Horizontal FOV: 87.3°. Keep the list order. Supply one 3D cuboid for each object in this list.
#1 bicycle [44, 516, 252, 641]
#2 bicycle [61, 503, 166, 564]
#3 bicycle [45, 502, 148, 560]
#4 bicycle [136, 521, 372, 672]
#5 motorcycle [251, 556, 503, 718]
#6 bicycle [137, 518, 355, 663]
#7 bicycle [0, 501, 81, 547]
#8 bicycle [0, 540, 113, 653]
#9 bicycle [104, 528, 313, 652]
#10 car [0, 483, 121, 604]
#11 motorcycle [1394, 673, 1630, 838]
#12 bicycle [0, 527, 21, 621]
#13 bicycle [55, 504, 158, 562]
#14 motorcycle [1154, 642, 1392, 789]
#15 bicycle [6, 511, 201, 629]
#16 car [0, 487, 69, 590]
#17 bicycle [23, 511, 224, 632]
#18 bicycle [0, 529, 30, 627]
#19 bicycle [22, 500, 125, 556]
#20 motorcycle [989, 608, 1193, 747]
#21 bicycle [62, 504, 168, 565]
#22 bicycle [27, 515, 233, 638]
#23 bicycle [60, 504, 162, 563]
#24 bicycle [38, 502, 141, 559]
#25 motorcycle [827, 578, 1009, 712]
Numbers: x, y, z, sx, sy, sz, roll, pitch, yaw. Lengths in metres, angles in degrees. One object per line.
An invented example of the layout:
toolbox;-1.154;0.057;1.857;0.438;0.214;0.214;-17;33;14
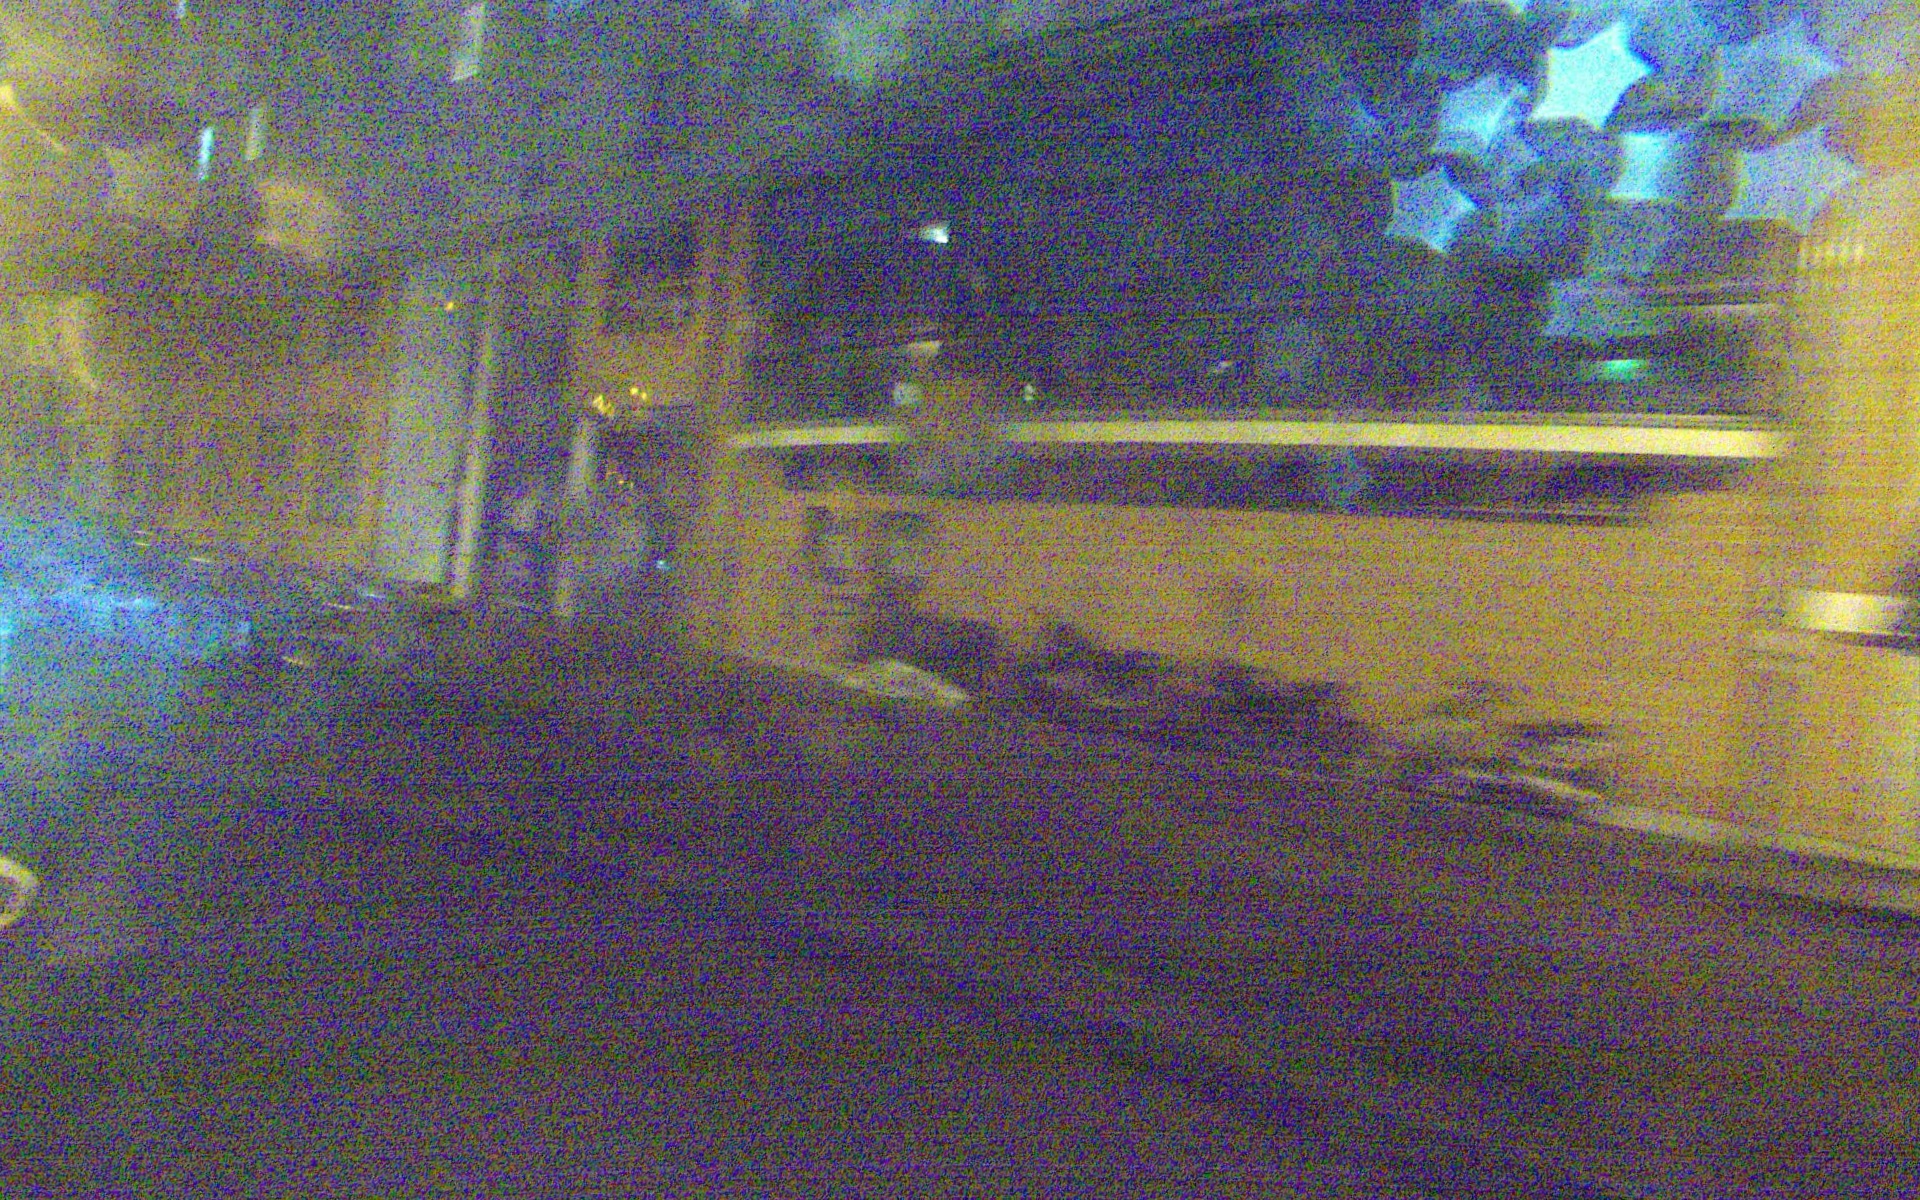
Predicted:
bicycle;-8.461;-0.187;10.551;0.411;1.173;1.596;7;1;31
bicycle;-18.547;-1.439;22.078;0.421;1.162;1.687;7;3;27
bicycle;-19.819;-1.560;23.130;0.532;1.162;1.687;7;3;27
bicycle;-6.426;0.014;9.244;0.379;1.250;1.663;7;1;37
motorcycle;-4.693;0.289;8.212;0.642;1.139;1.634;7;2;28
bicycle;-6.779;-0.056;9.622;0.411;1.250;1.578;7;1;37
bicycle;-24.630;-2.010;26.637;0.501;1.068;1.973;6;2;28
bicycle;-8.257;-0.029;8.810;0.297;0.960;1.211;7;1;31
bicycle;-7.585;-0.063;10.231;0.411;1.126;1.596;7;1;31
car;-13.175;-0.803;12.709;1.625;1.542;3.712;6;1;10
motorcycle;4.620;1.266;8.486;1.598;1.080;0.523;7;0;33
bicycle;-10.271;-0.288;10.142;0.263;0.961;1.131;7;3;32
bicycle;-19.344;-1.508;22.842;0.477;1.162;1.687;7;3;27
motorcycle;2.970;1.067;9.630;2.022;1.080;0.524;6;0;28
bicycle;-9.759;-0.314;11.503;0.532;1.173;1.592;8;2;42
car;-15.562;-1.033;14.563;1.625;1.542;3.712;6;1;10
bicycle;-9.153;-0.279;11.079;0.411;1.173;1.596;7;1;31
bicycle;-10.050;-0.242;9.995;0.245;0.987;1.132;7;2;32
bicycle;-21.022;-1.691;23.882;0.654;1.162;1.687;7;2;27
motorcycle;1.403;0.819;11.084;2.091;1.222;0.523;7;0;34
bicycle;-18.126;-1.392;21.613;0.421;1.162;1.687;7;3;27
bicycle;-8.832;-0.218;10.778;0.411;1.173;1.596;7;1;31
bicycle;-18.948;-1.469;22.492;0.421;1.162;1.687;7;3;27
bicycle;-20.346;-1.614;23.543;0.586;1.162;1.687;7;2;27
motorcycle;-0.532;0.521;12.161;2.089;1.334;0.524;7;0;28
